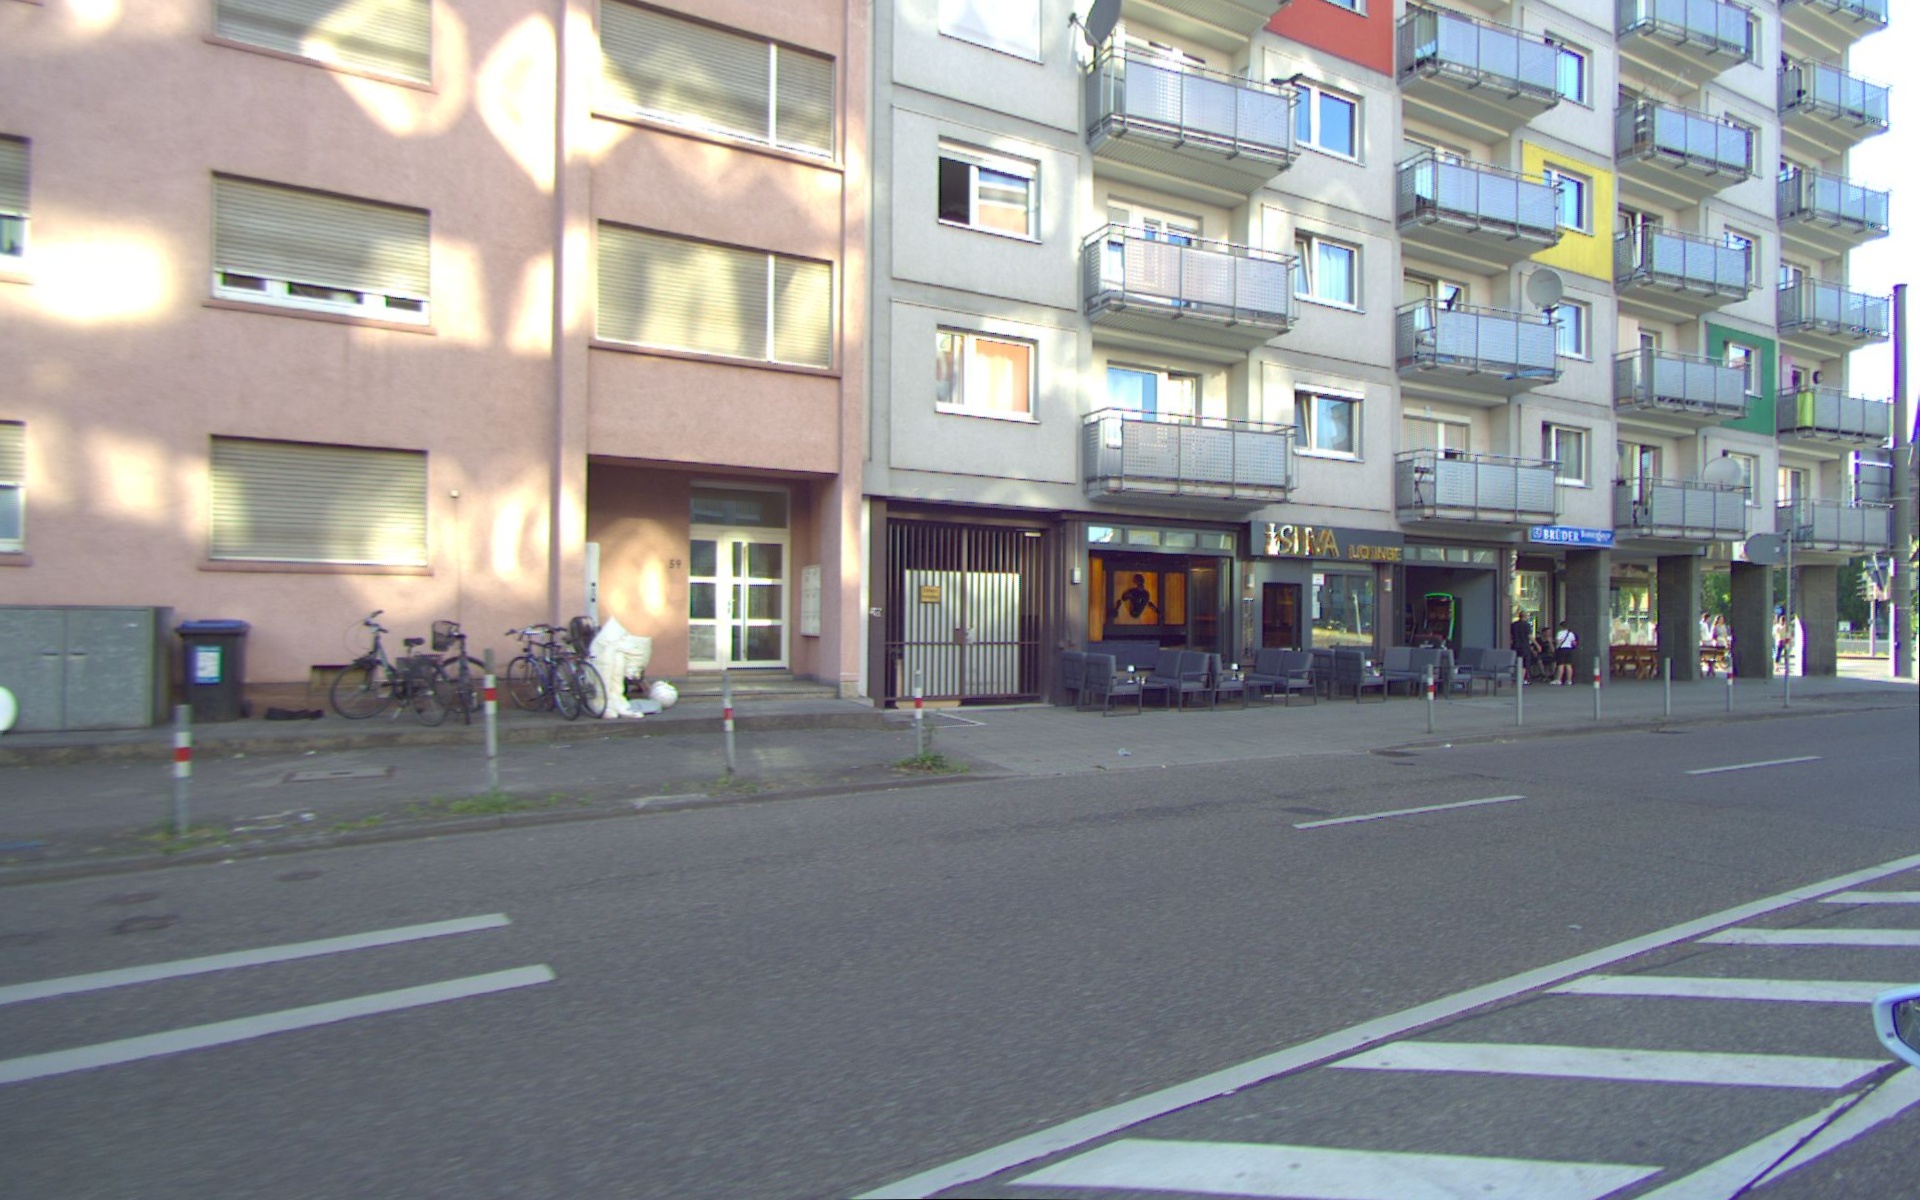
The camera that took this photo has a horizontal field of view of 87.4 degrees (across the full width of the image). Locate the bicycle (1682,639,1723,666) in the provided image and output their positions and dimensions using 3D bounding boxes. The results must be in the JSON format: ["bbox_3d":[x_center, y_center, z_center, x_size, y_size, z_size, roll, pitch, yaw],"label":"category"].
[{"bbox_3d":[26.286,1.868,35.574,1.682,0.919,0.494,1,-1,-28],"label":"bicycle"}]

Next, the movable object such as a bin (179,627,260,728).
[{"bbox_3d":[-7.975,0.816,10.843,0.581,1.045,0.672,1,-1,-27],"label":"movable object such as a bin"}]

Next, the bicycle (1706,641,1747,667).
[{"bbox_3d":[26.607,1.876,34.859,1.682,0.851,0.494,1,-1,-28],"label":"bicycle"}]

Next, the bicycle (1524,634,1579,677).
[{"bbox_3d":[15.341,1.435,26.039,1.439,1.095,0.585,2,-1,-30],"label":"bicycle"}]

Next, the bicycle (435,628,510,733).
[{"bbox_3d":[-5.525,0.865,11.344,0.544,1.054,1.660,1,0,-33],"label":"bicycle"}]

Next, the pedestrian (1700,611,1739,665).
[{"bbox_3d":[24.861,1.243,32.888,0.663,1.731,0.753,0,-1,-18],"label":"pedestrian"}]

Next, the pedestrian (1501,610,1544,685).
[{"bbox_3d":[13.162,1.095,23.527,0.764,1.723,0.560,0,-1,17],"label":"pedestrian"}]

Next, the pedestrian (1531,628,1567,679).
[{"bbox_3d":[14.622,1.324,24.933,0.521,1.256,0.557,0,-1,-12],"label":"pedestrian"}]

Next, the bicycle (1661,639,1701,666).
[{"bbox_3d":[25.895,1.876,36.071,1.682,0.919,0.494,1,-1,-28],"label":"bicycle"}]

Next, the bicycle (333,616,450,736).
[{"bbox_3d":[-6.187,0.780,10.890,1.649,1.175,0.494,1,0,38],"label":"bicycle"}]

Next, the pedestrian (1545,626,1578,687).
[{"bbox_3d":[13.942,1.300,23.283,0.472,1.402,0.484,0,-1,-6],"label":"pedestrian"}]

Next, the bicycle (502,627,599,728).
[{"bbox_3d":[-4.816,0.868,11.757,0.545,1.054,1.655,1,0,-41],"label":"bicycle"}]

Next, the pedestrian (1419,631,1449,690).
[{"bbox_3d":[10.038,1.279,21.285,0.514,1.219,0.551,0,-1,32],"label":"pedestrian"}]

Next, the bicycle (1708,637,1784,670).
[{"bbox_3d":[30.312,2.034,38.752,1.147,1.183,2.035,1,-1,-28],"label":"bicycle"}]

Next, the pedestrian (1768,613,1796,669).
[{"bbox_3d":[26.460,1.320,32.339,0.463,1.792,0.550,0,-1,-25],"label":"pedestrian"}]

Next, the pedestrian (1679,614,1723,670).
[{"bbox_3d":[23.983,1.349,32.527,0.663,1.781,0.922,0,-1,-18],"label":"pedestrian"}]
